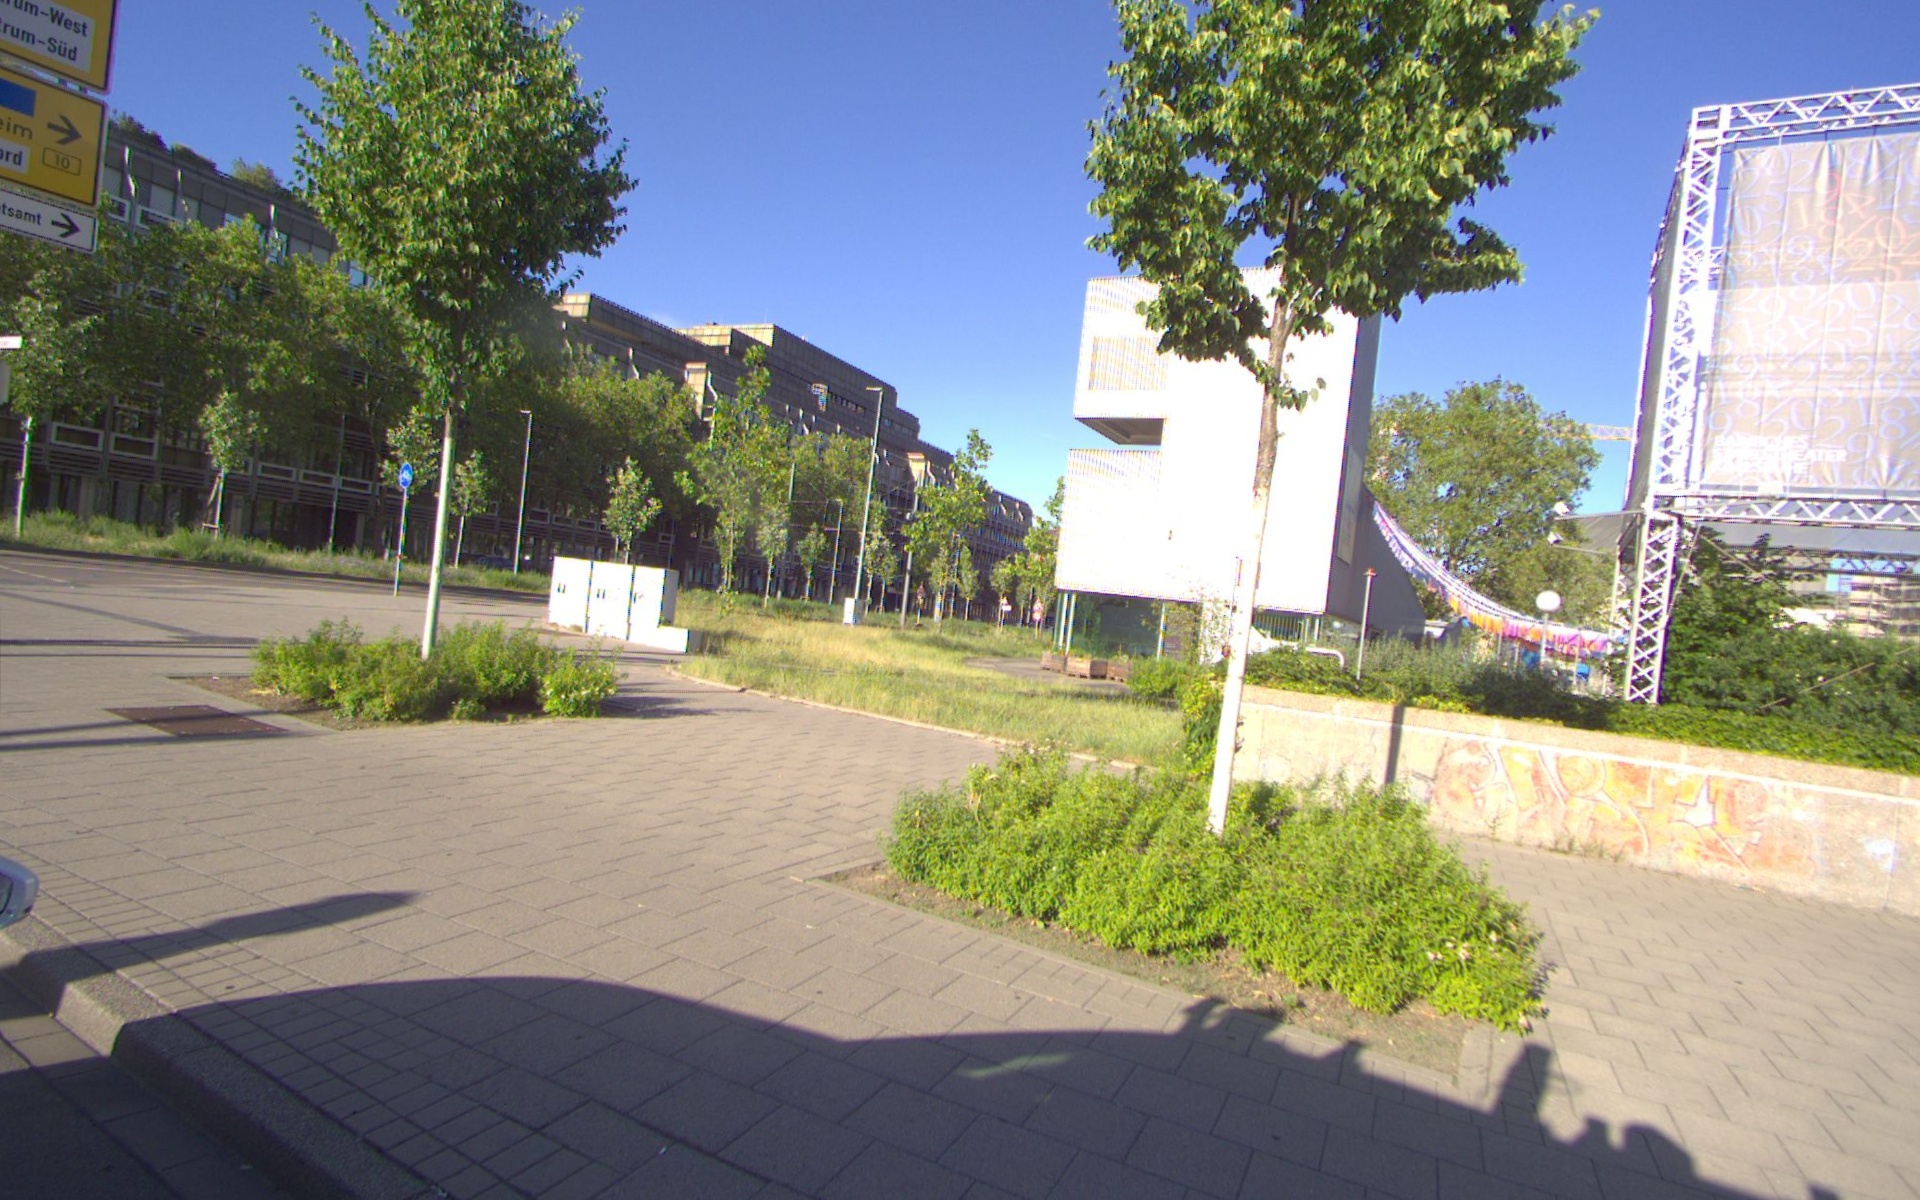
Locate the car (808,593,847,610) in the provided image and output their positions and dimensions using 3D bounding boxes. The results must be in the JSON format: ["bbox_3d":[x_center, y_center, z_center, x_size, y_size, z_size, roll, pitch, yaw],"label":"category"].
[{"bbox_3d":[-12.085,0.138,91.975,1.605,1.359,3.994,6,1,23],"label":"car"}]
